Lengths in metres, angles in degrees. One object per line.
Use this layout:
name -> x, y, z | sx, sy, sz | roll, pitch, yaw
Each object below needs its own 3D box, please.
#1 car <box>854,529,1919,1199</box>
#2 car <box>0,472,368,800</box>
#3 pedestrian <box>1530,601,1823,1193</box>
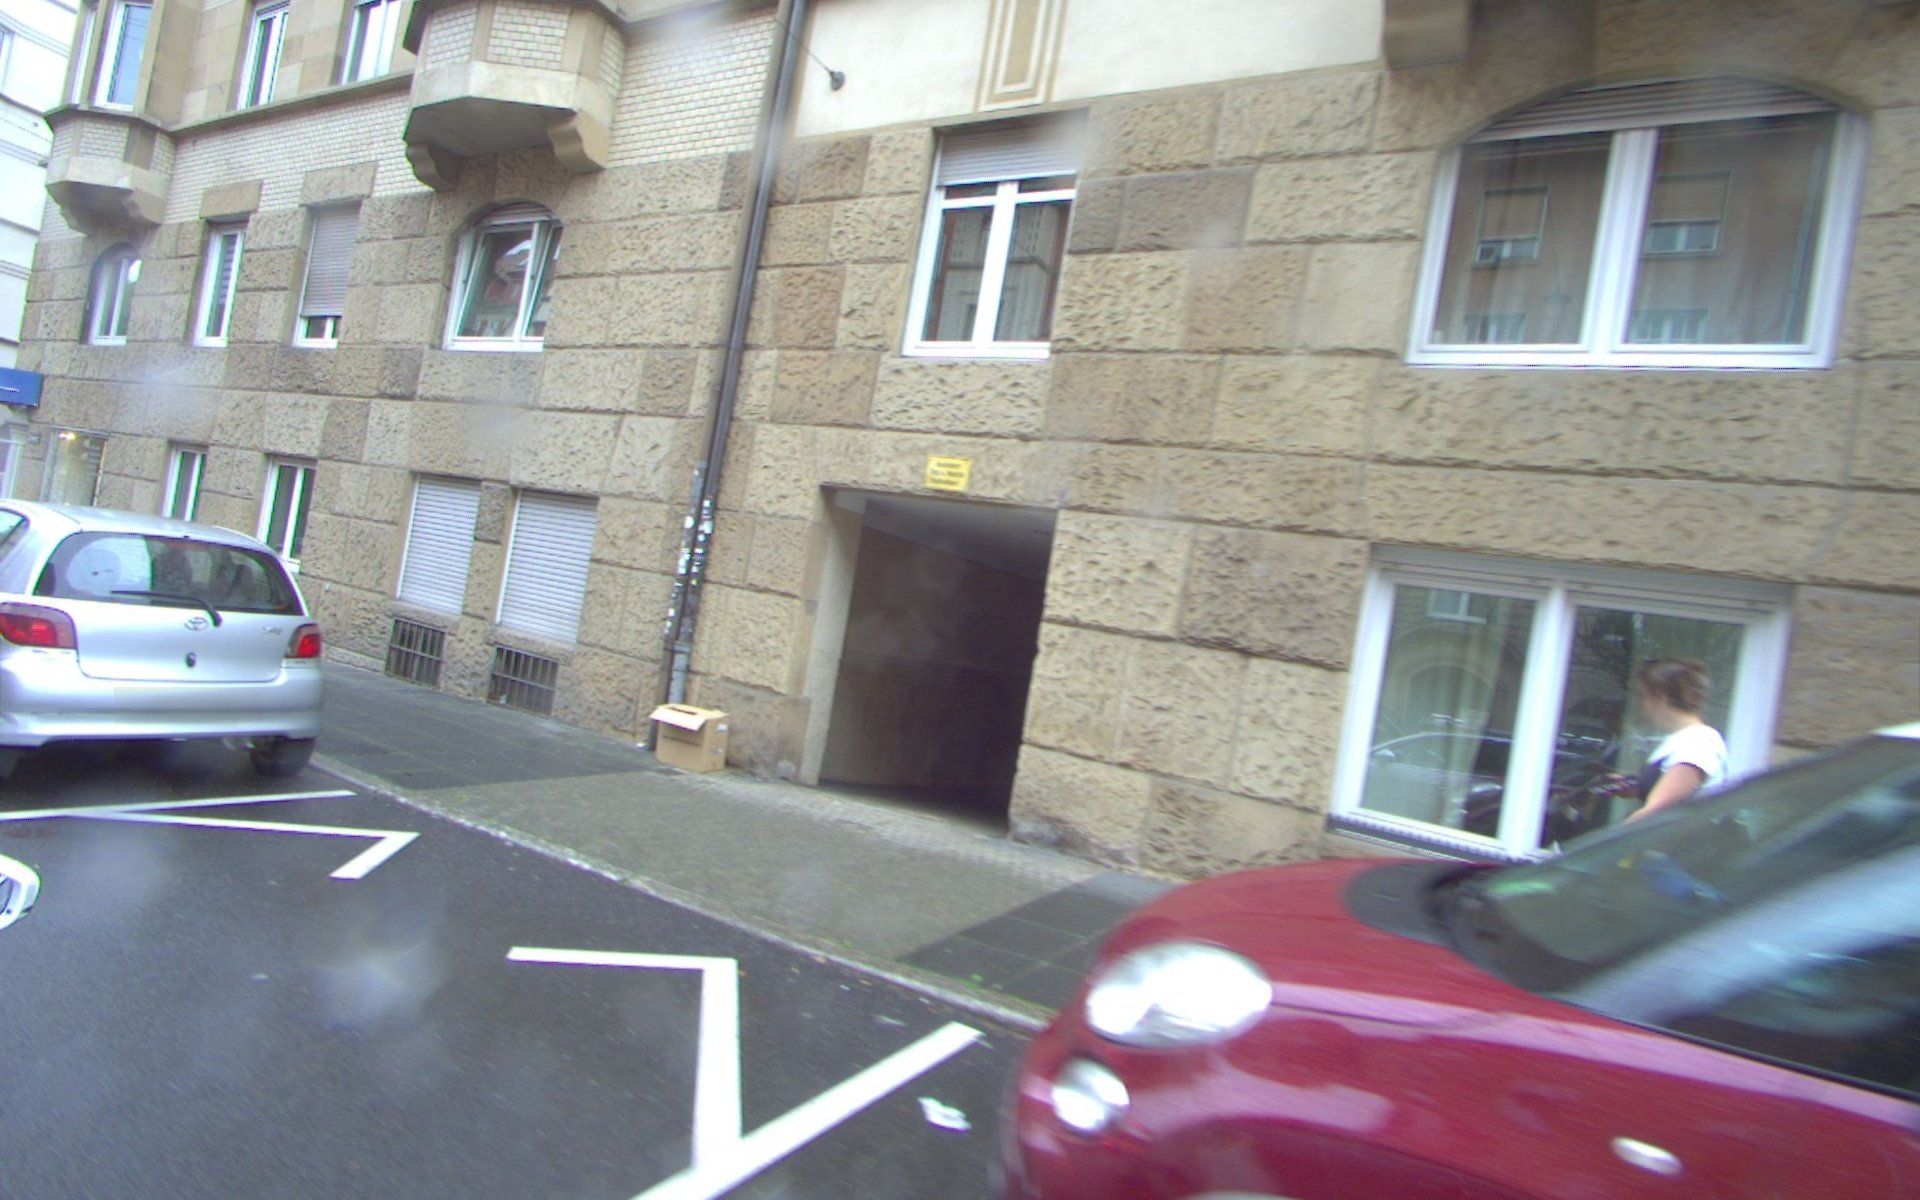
car -> 1.967, 0.999, 1.587 | 3.931, 1.646, 1.716 | 7, -3, 29
car -> -5.575, 0.108, 6.360 | 3.409, 1.559, 1.642 | 7, -3, 33
pedestrian -> 2.494, 0.954, 3.603 | 0.599, 1.752, 0.864 | 7, -2, 31
